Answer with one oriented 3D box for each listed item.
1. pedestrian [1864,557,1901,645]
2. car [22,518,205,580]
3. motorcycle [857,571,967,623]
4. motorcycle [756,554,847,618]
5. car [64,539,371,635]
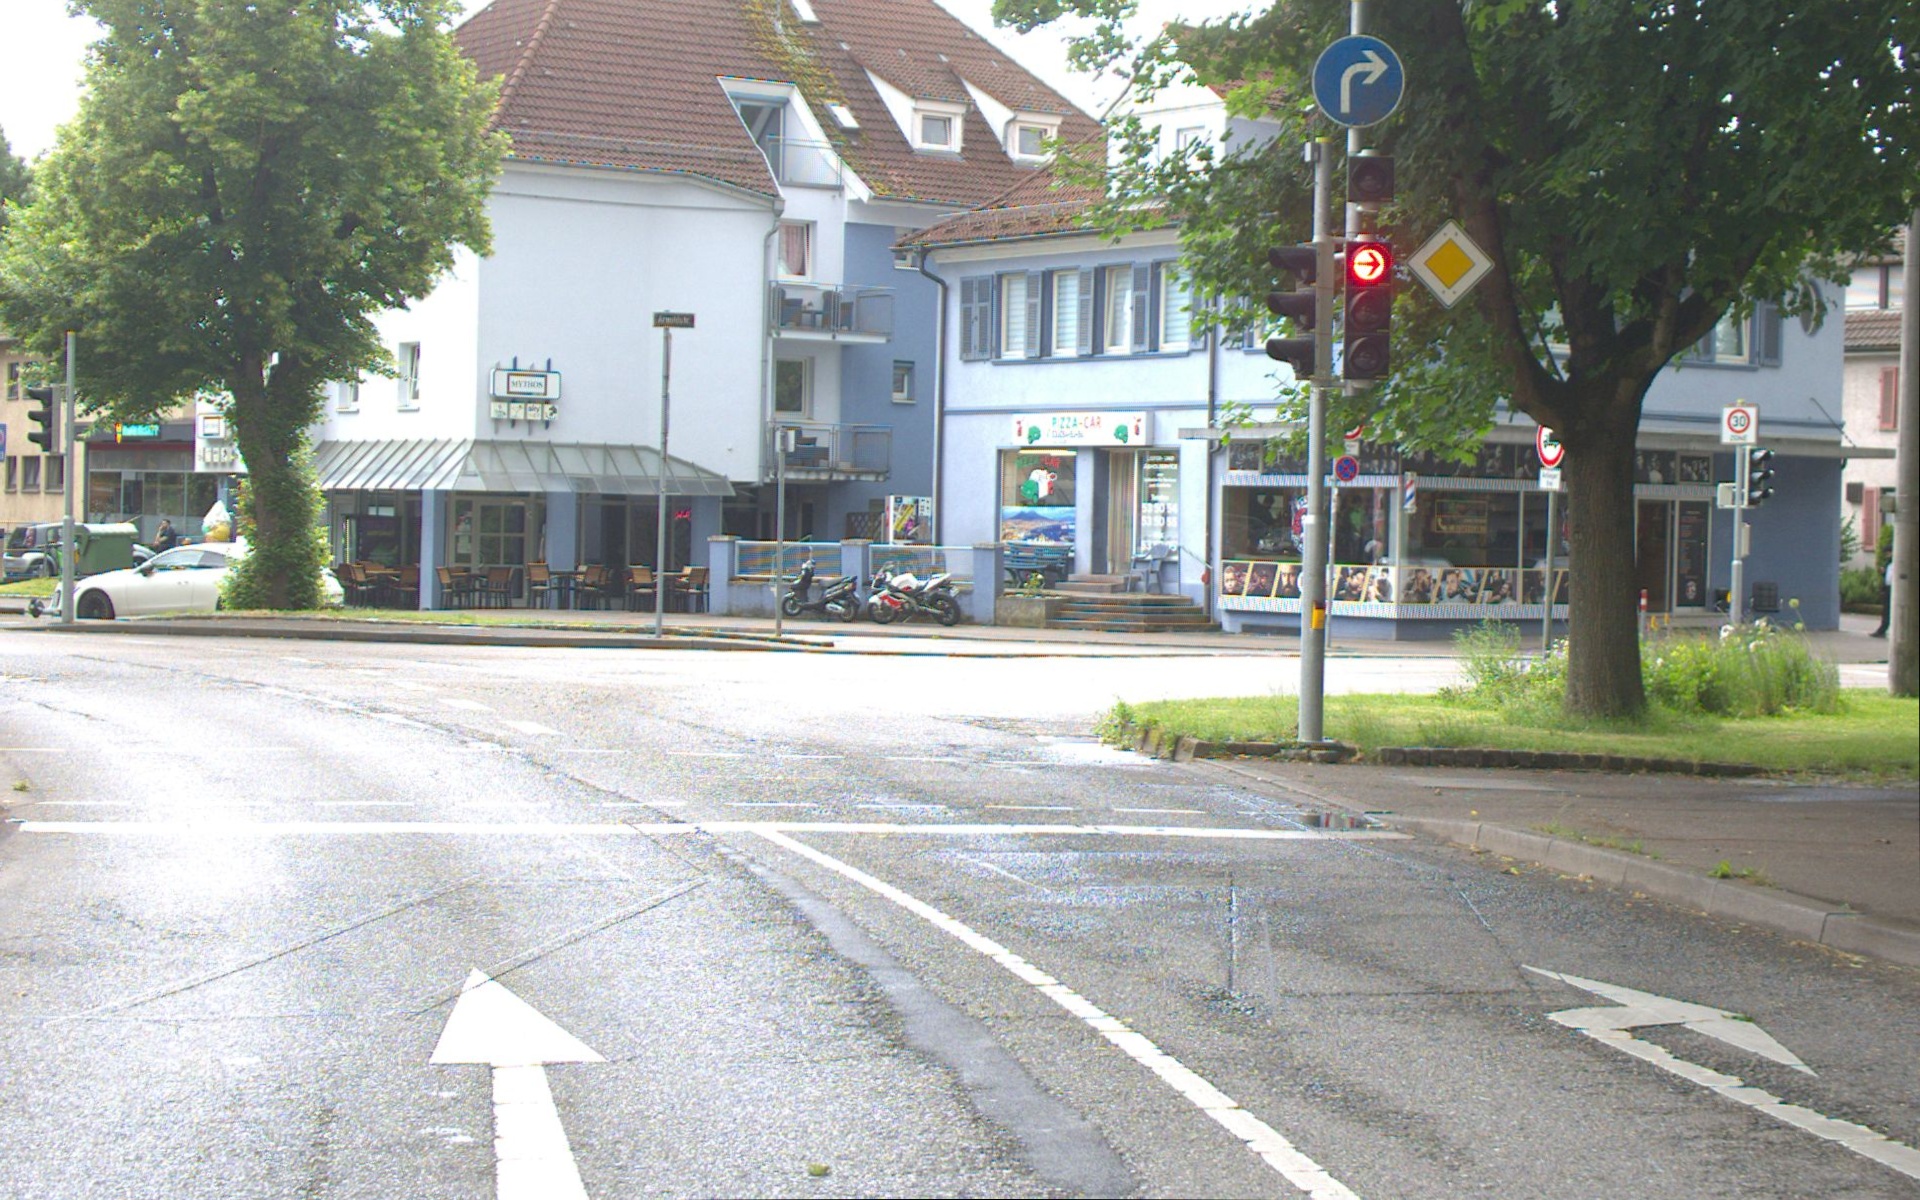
[{"bbox_3d":[16.349,0.022,60.922,0.403,1.546,0.500,-1,1,-39],"label":"pedestrian"},{"bbox_3d":[-20.668,-1.265,83.942,3.987,1.481,1.760,-1,1,-30],"label":"car"},{"bbox_3d":[-0.849,-0.050,60.582,1.839,0.845,0.560,0,6,25],"label":"motorcycle"},{"bbox_3d":[-2.851,-0.256,61.954,1.497,1.103,0.560,0,6,21],"label":"motorcycle"},{"bbox_3d":[-12.122,-0.236,56.128,4.583,1.512,1.998,0,1,23],"label":"car"}]
